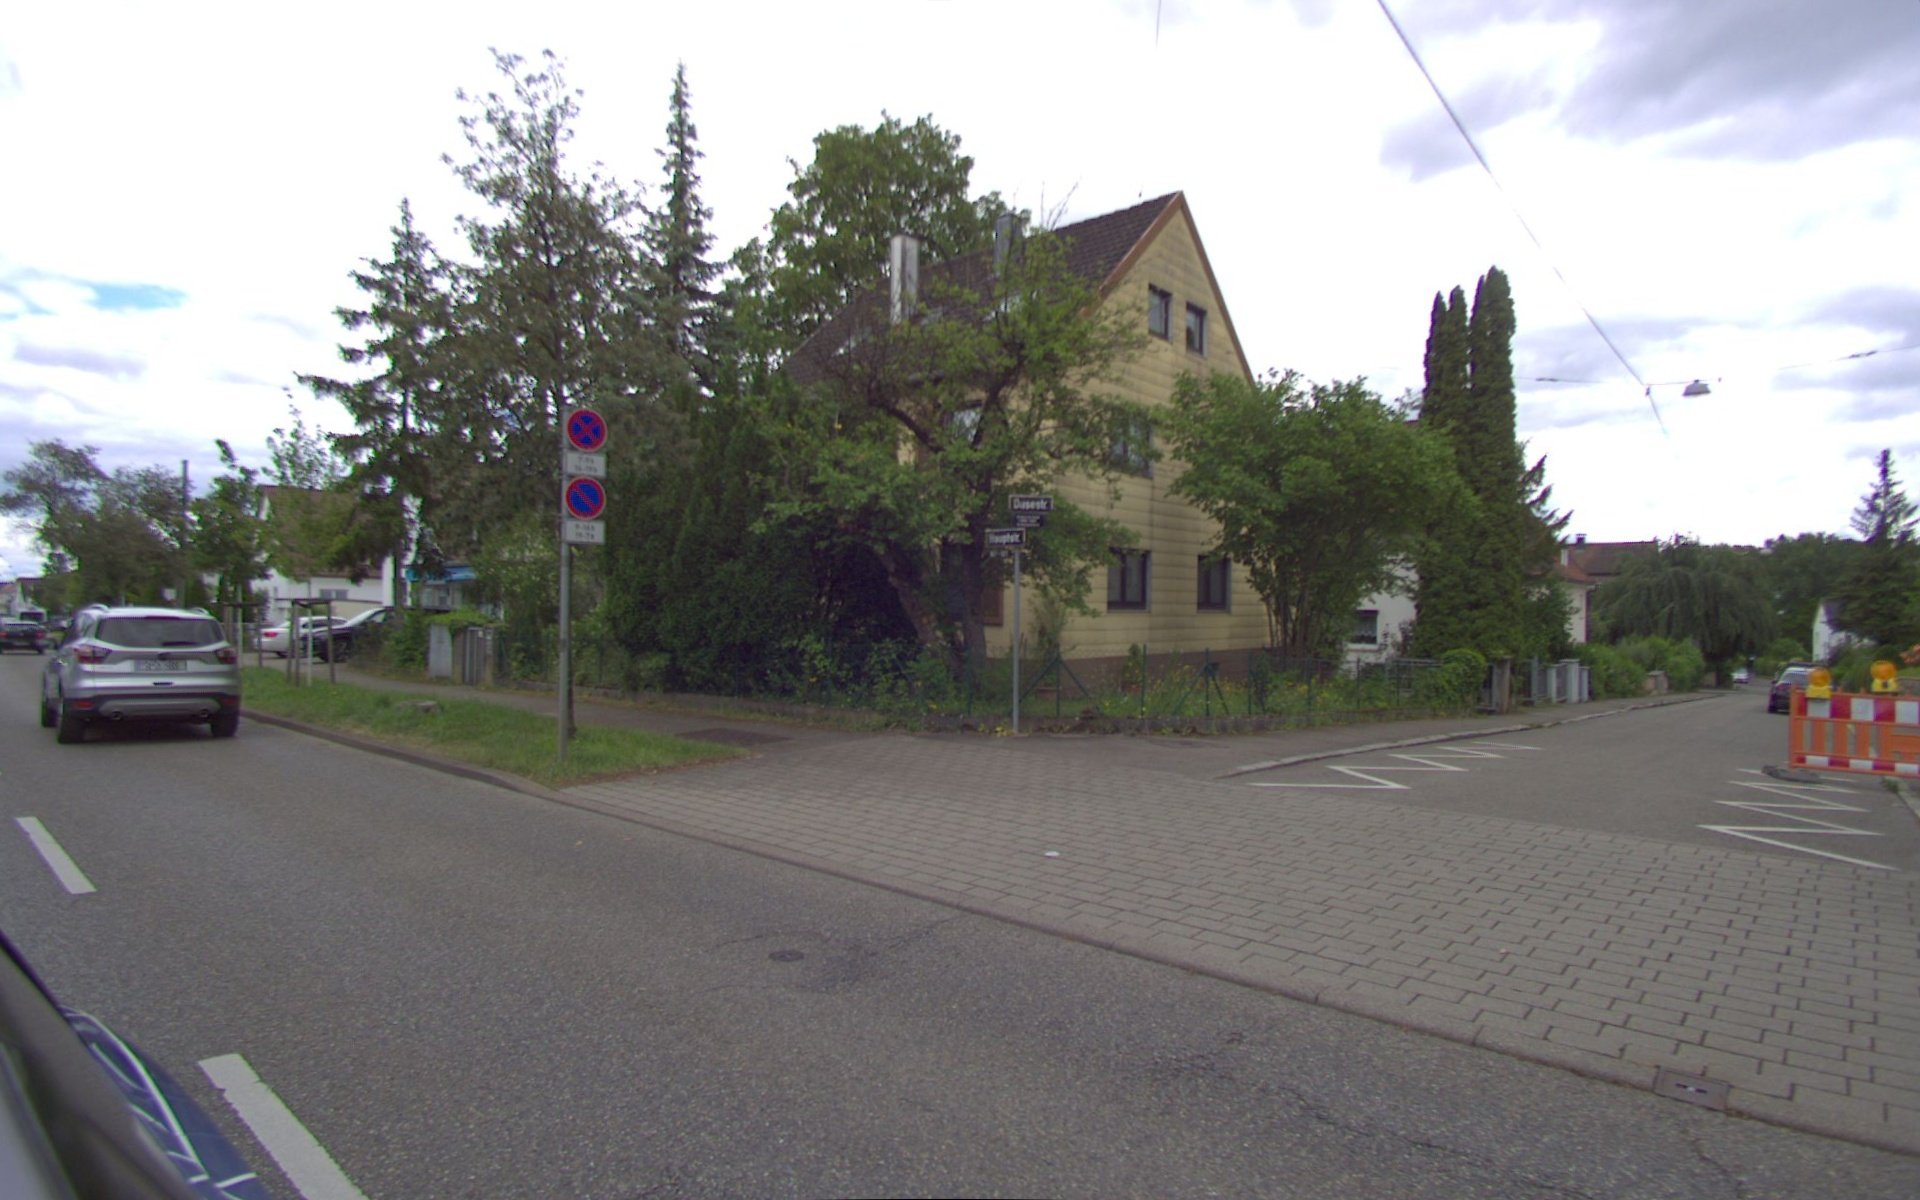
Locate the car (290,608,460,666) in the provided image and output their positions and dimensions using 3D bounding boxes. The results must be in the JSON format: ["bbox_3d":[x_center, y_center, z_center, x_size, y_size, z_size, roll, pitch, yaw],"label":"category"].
[{"bbox_3d":[-18.265,1.105,31.685,4.281,1.630,1.975,-1,0,-43],"label":"car"}]

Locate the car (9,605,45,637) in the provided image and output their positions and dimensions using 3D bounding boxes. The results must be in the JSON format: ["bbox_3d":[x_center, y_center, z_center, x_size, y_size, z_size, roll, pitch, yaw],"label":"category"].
[{"bbox_3d":[-80.185,1.815,86.907,2.049,2.602,5.304,4,-4,-44],"label":"car"}]

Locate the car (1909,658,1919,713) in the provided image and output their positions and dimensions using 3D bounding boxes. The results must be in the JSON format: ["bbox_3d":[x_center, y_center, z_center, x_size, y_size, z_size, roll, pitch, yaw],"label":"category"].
[{"bbox_3d":[31.752,2.756,32.249,1.891,1.630,3.947,-1,-2,39],"label":"car"}]

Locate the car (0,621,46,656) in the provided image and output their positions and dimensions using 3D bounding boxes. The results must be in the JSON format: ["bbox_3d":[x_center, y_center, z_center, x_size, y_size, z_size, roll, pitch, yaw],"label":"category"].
[{"bbox_3d":[-42.169,1.709,45.262,3.471,1.483,1.557,0,-2,43],"label":"car"}]

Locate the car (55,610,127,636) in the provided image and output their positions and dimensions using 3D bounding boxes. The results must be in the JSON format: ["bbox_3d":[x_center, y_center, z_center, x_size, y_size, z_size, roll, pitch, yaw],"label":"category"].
[{"bbox_3d":[-94.821,2.540,110.525,5.525,2.583,2.137,3,-2,-25],"label":"car"}]

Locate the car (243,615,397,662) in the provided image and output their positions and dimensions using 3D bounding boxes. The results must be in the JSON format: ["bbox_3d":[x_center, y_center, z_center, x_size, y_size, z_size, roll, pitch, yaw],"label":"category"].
[{"bbox_3d":[-22.509,1.308,35.737,1.815,1.378,4.235,-1,1,40],"label":"car"}]

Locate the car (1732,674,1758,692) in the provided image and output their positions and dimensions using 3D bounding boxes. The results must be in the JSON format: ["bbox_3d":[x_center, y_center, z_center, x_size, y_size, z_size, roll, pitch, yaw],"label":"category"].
[{"bbox_3d":[94.367,9.984,121.672,2.001,1.763,3.942,-1,0,44],"label":"car"}]

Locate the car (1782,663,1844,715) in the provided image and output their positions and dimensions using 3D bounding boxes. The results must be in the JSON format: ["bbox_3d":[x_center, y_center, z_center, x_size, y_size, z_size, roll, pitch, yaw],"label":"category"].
[{"bbox_3d":[31.771,3.275,37.684,1.661,1.785,3.355,-1,-3,41],"label":"car"}]

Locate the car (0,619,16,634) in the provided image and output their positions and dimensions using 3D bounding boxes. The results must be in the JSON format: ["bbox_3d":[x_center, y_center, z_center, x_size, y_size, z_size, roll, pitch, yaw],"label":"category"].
[{"bbox_3d":[-114.496,3.194,121.372,1.774,1.765,4.303,2,-3,-42],"label":"car"}]

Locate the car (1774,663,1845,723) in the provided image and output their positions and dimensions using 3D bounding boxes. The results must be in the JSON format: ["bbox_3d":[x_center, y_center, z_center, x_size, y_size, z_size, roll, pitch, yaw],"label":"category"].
[{"bbox_3d":[27.735,2.982,33.030,1.690,1.785,3.355,-1,-3,41],"label":"car"}]

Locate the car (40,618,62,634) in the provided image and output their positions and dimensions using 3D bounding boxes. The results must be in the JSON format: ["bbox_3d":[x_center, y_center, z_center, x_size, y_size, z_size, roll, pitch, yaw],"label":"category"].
[{"bbox_3d":[-116.680,3.356,129.896,1.969,1.964,4.903,1,-2,-43],"label":"car"}]

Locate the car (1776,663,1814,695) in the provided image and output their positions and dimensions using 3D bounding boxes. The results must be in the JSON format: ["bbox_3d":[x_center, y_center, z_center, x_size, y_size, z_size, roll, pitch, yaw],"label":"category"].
[{"bbox_3d":[48.713,4.571,59.033,1.633,1.785,3.355,-1,-3,41],"label":"car"}]

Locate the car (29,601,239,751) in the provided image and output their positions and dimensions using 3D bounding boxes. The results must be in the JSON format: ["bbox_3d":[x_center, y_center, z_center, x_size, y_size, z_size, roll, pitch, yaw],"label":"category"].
[{"bbox_3d":[-11.209,0.930,13.638,4.102,1.719,1.722,-1,-3,45],"label":"car"}]
